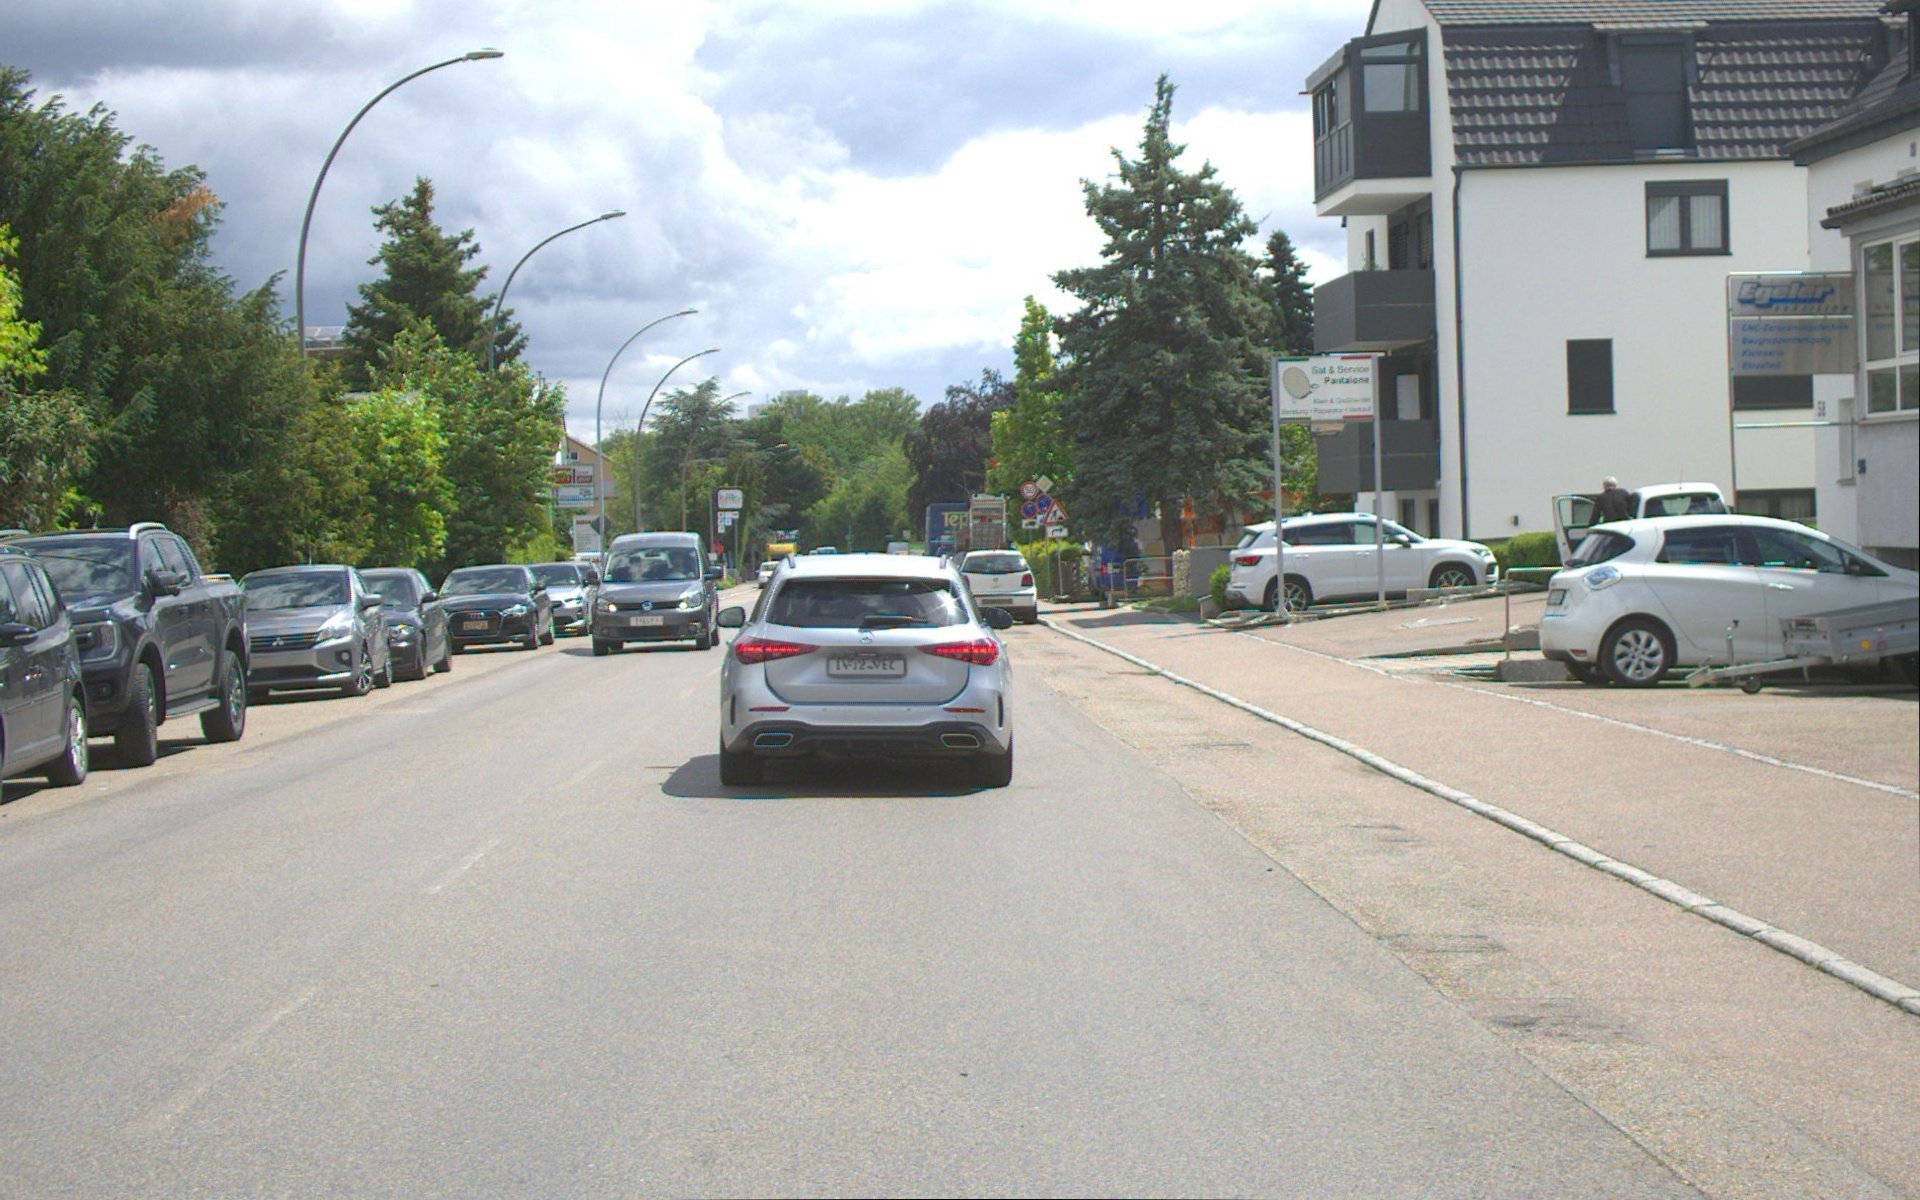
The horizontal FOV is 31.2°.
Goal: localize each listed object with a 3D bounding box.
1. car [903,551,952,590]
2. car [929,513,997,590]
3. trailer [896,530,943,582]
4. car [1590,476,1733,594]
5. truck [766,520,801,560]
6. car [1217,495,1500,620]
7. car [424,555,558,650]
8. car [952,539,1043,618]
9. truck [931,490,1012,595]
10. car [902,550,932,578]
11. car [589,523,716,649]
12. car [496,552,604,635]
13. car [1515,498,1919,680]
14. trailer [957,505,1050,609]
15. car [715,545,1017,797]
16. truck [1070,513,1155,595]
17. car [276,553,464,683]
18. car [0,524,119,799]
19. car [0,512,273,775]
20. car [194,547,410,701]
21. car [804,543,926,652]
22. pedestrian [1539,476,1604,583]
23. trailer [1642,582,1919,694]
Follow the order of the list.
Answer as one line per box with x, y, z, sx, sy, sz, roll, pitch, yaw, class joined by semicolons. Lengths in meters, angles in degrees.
-1.357;-1.248;145.623;1.941;1.566;4.446;-2;1;1;car
0.070;-1.419;99.663;1.873;2.161;4.464;1;1;-1;car
-1.880;-1.994;156.973;1.941;2.286;4.446;-2;1;-2;trailer
10.327;-0.991;50.803;1.632;1.513;3.664;-4;2;6;car
-12.822;-4.371;249.704;2.075;2.804;7.078;-2;1;0;truck
6.384;-0.691;55.388;4.191;1.648;1.867;-5;1;-1;car
-7.679;0.013;56.602;1.662;1.409;4.339;-3;1;-2;car
0.759;-0.448;68.867;1.719;1.427;3.983;-3;1;1;car
0.328;-1.761;105.281;2.320;3.086;6.043;1;1;-1;truck
-3.153;-2.645;251.409;2.144;1.977;5.261;-2;1;-1;car
-4.669;-0.245;52.653;1.662;1.789;4.339;-2;1;-3;car
-7.878;-0.153;66.380;1.719;1.427;4.200;-3;1;-3;car
7.208;-0.108;31.521;3.899;1.603;1.749;0;1;-3;car
0.910;-0.946;74.447;1.772;2.137;4.114;-2;1;-2;trailer
-0.667;0.385;22.497;1.784;1.479;4.317;0;1;-3;car
4.316;-1.357;98.157;1.829;2.074;5.386;-4;2;-2;truck
-7.413;0.189;43.528;1.662;1.430;4.339;-4;1;-2;car
-6.736;0.392;21.938;1.662;1.674;4.527;-3;1;-2;car
-6.984;0.296;27.457;1.910;1.815;5.430;-5;1;-2;car
-7.305;0.222;38.484;1.662;1.506;3.945;-4;1;-2;car
-1.455;-0.074;51.985;1.755;1.553;4.000;-1;1;-2;car
9.059;-1.048;50.962;0.764;1.522;0.781;-4;0;4;pedestrian
7.825;0.280;28.828;3.816;0.805;1.657;-2;1;-3;trailer
